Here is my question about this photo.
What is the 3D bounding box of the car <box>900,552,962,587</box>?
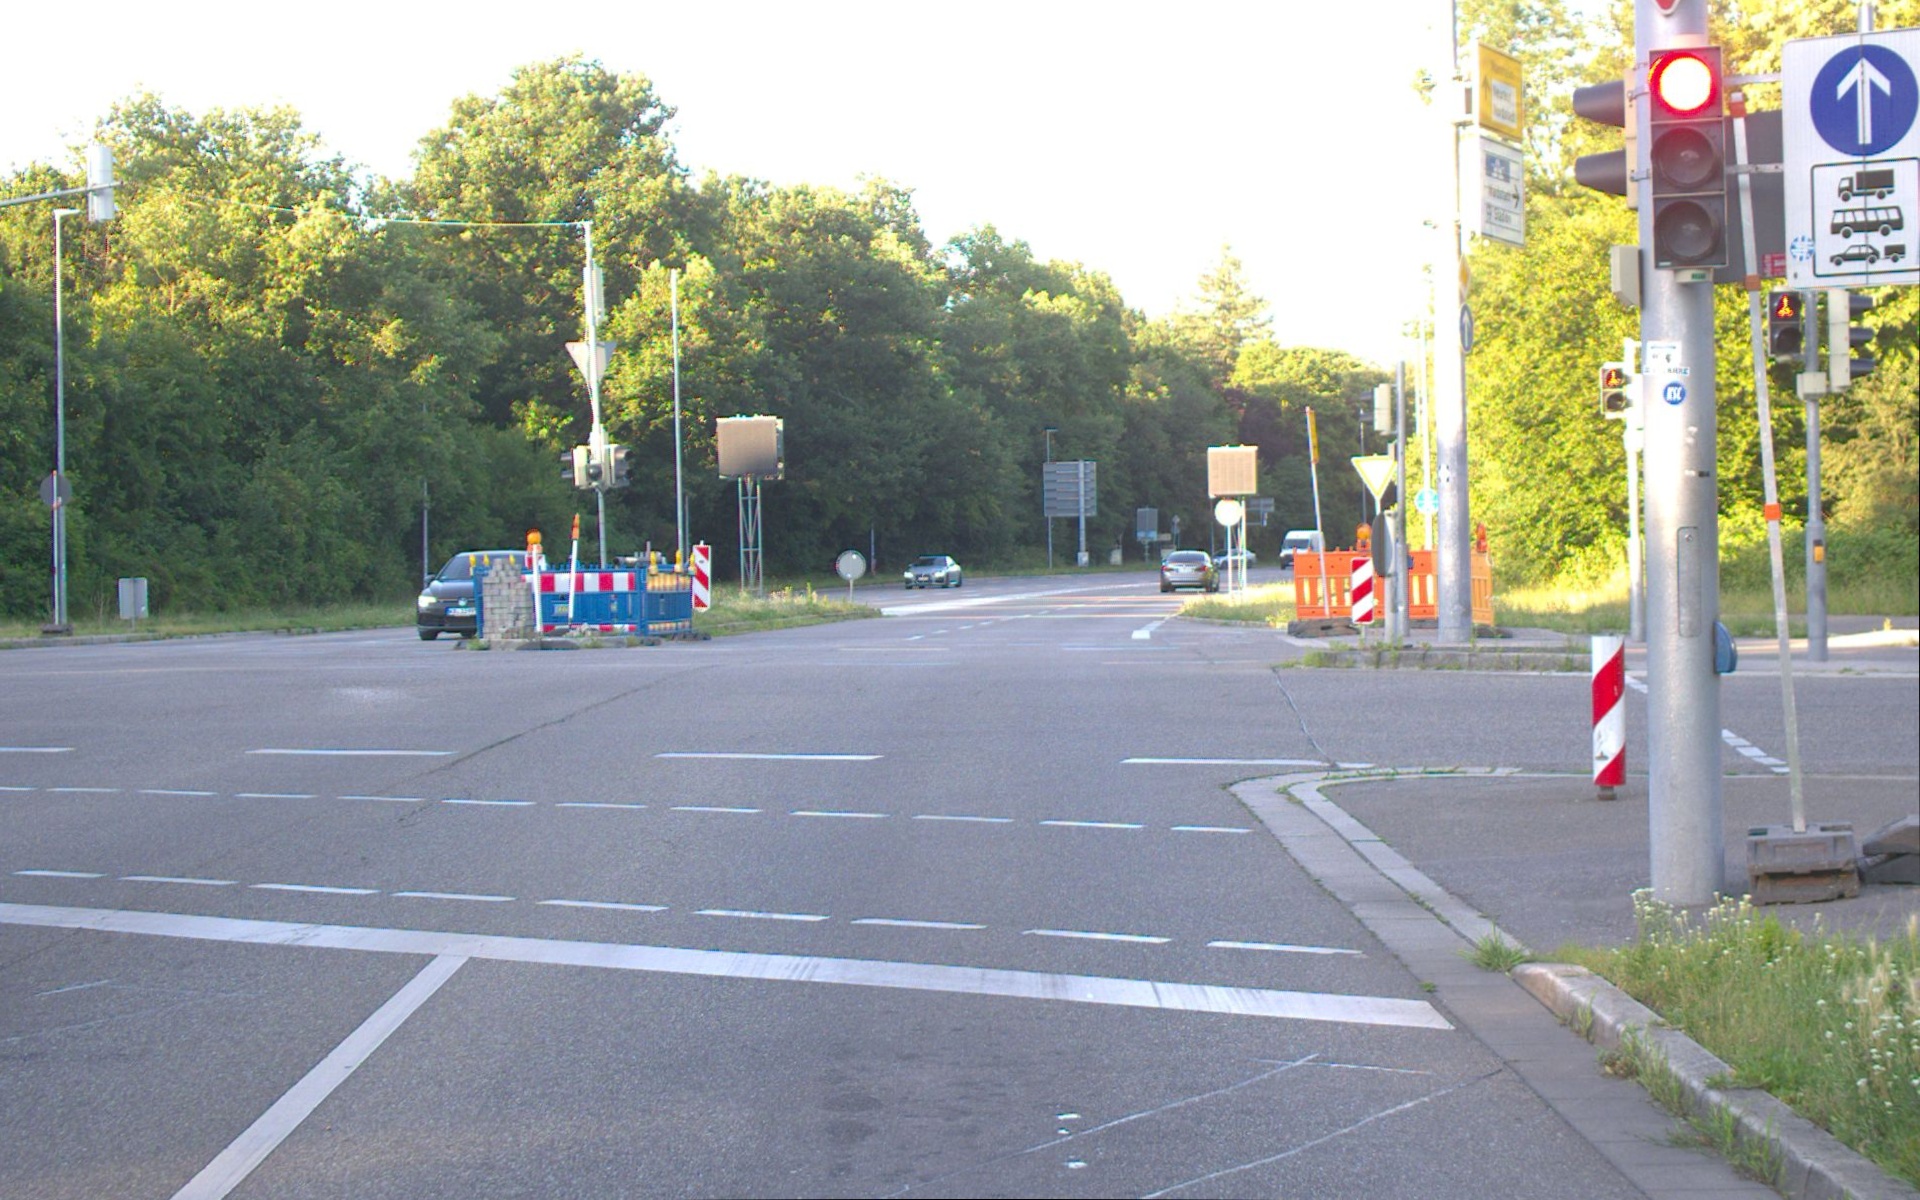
[{"bbox_3d":[-1.223,-1.324,147.924,1.994,1.415,3.999,-1,1,10],"label":"car"}]

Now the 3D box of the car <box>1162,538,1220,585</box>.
[{"bbox_3d":[8.271,-1.404,123.136,1.994,1.612,4.000,-1,1,4],"label":"car"}]

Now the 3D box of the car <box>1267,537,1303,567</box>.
[{"bbox_3d":[22.111,-3.246,234.118,1.993,2.007,4.000,1,0,-1],"label":"car"}]

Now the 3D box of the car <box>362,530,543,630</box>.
[{"bbox_3d":[-8.259,-0.355,56.382,1.994,1.524,4.678,-1,1,3],"label":"car"}]
